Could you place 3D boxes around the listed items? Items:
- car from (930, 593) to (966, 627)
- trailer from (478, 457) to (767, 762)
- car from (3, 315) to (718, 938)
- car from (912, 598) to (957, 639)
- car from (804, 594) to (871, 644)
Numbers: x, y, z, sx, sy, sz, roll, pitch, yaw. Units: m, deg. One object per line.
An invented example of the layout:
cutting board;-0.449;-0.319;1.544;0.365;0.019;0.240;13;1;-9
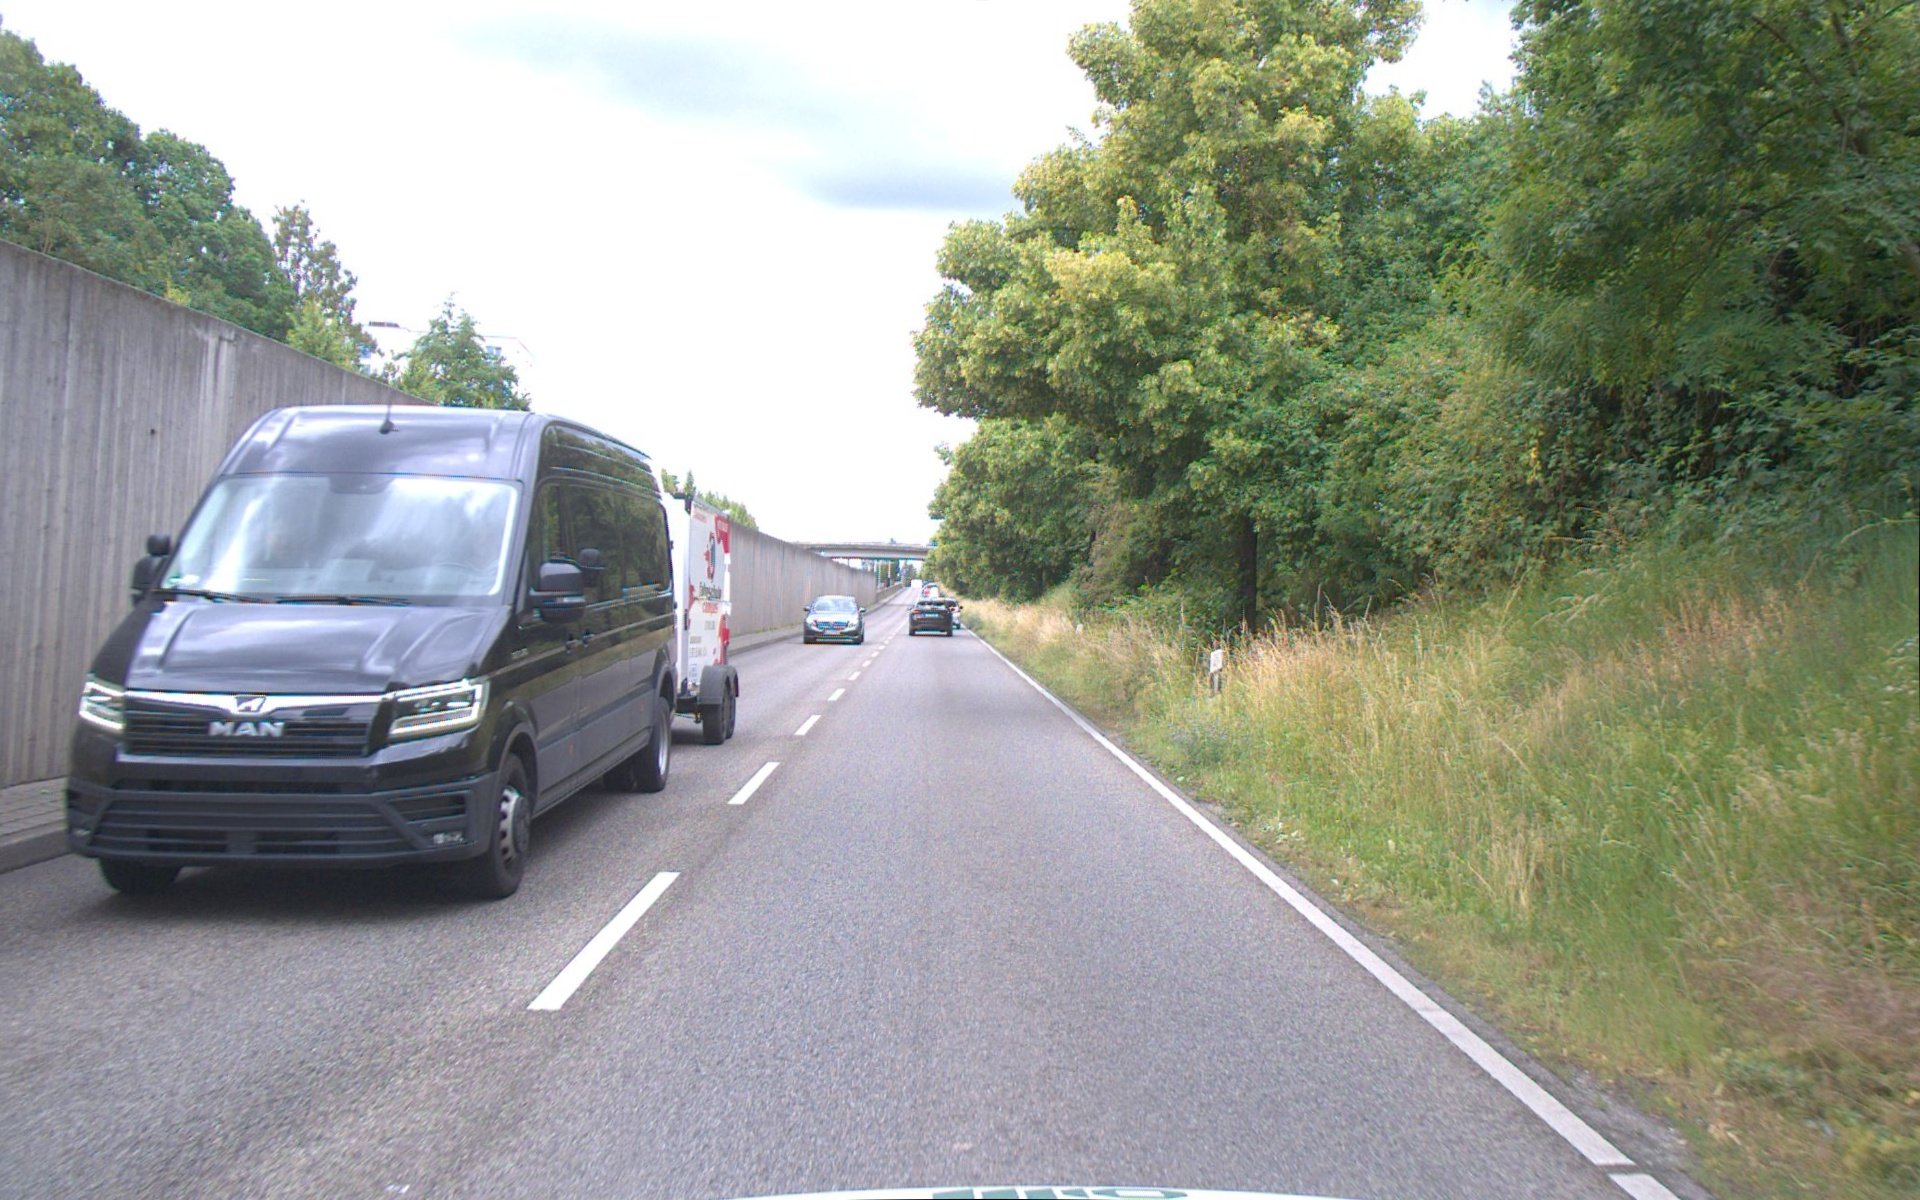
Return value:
car;-0.575;0.530;82.457;1.718;1.550;4.036;-1;-2;0
trailer;-3.245;0.079;16.836;2.067;2.676;4.371;1;0;-1
car;-3.140;0.109;10.888;2.067;2.676;7.415;1;0;-1
car;-1.037;0.761;66.204;1.719;1.550;4.035;-1;-1;-2
car;-3.911;0.576;53.568;1.854;1.509;4.822;1;0;-1
